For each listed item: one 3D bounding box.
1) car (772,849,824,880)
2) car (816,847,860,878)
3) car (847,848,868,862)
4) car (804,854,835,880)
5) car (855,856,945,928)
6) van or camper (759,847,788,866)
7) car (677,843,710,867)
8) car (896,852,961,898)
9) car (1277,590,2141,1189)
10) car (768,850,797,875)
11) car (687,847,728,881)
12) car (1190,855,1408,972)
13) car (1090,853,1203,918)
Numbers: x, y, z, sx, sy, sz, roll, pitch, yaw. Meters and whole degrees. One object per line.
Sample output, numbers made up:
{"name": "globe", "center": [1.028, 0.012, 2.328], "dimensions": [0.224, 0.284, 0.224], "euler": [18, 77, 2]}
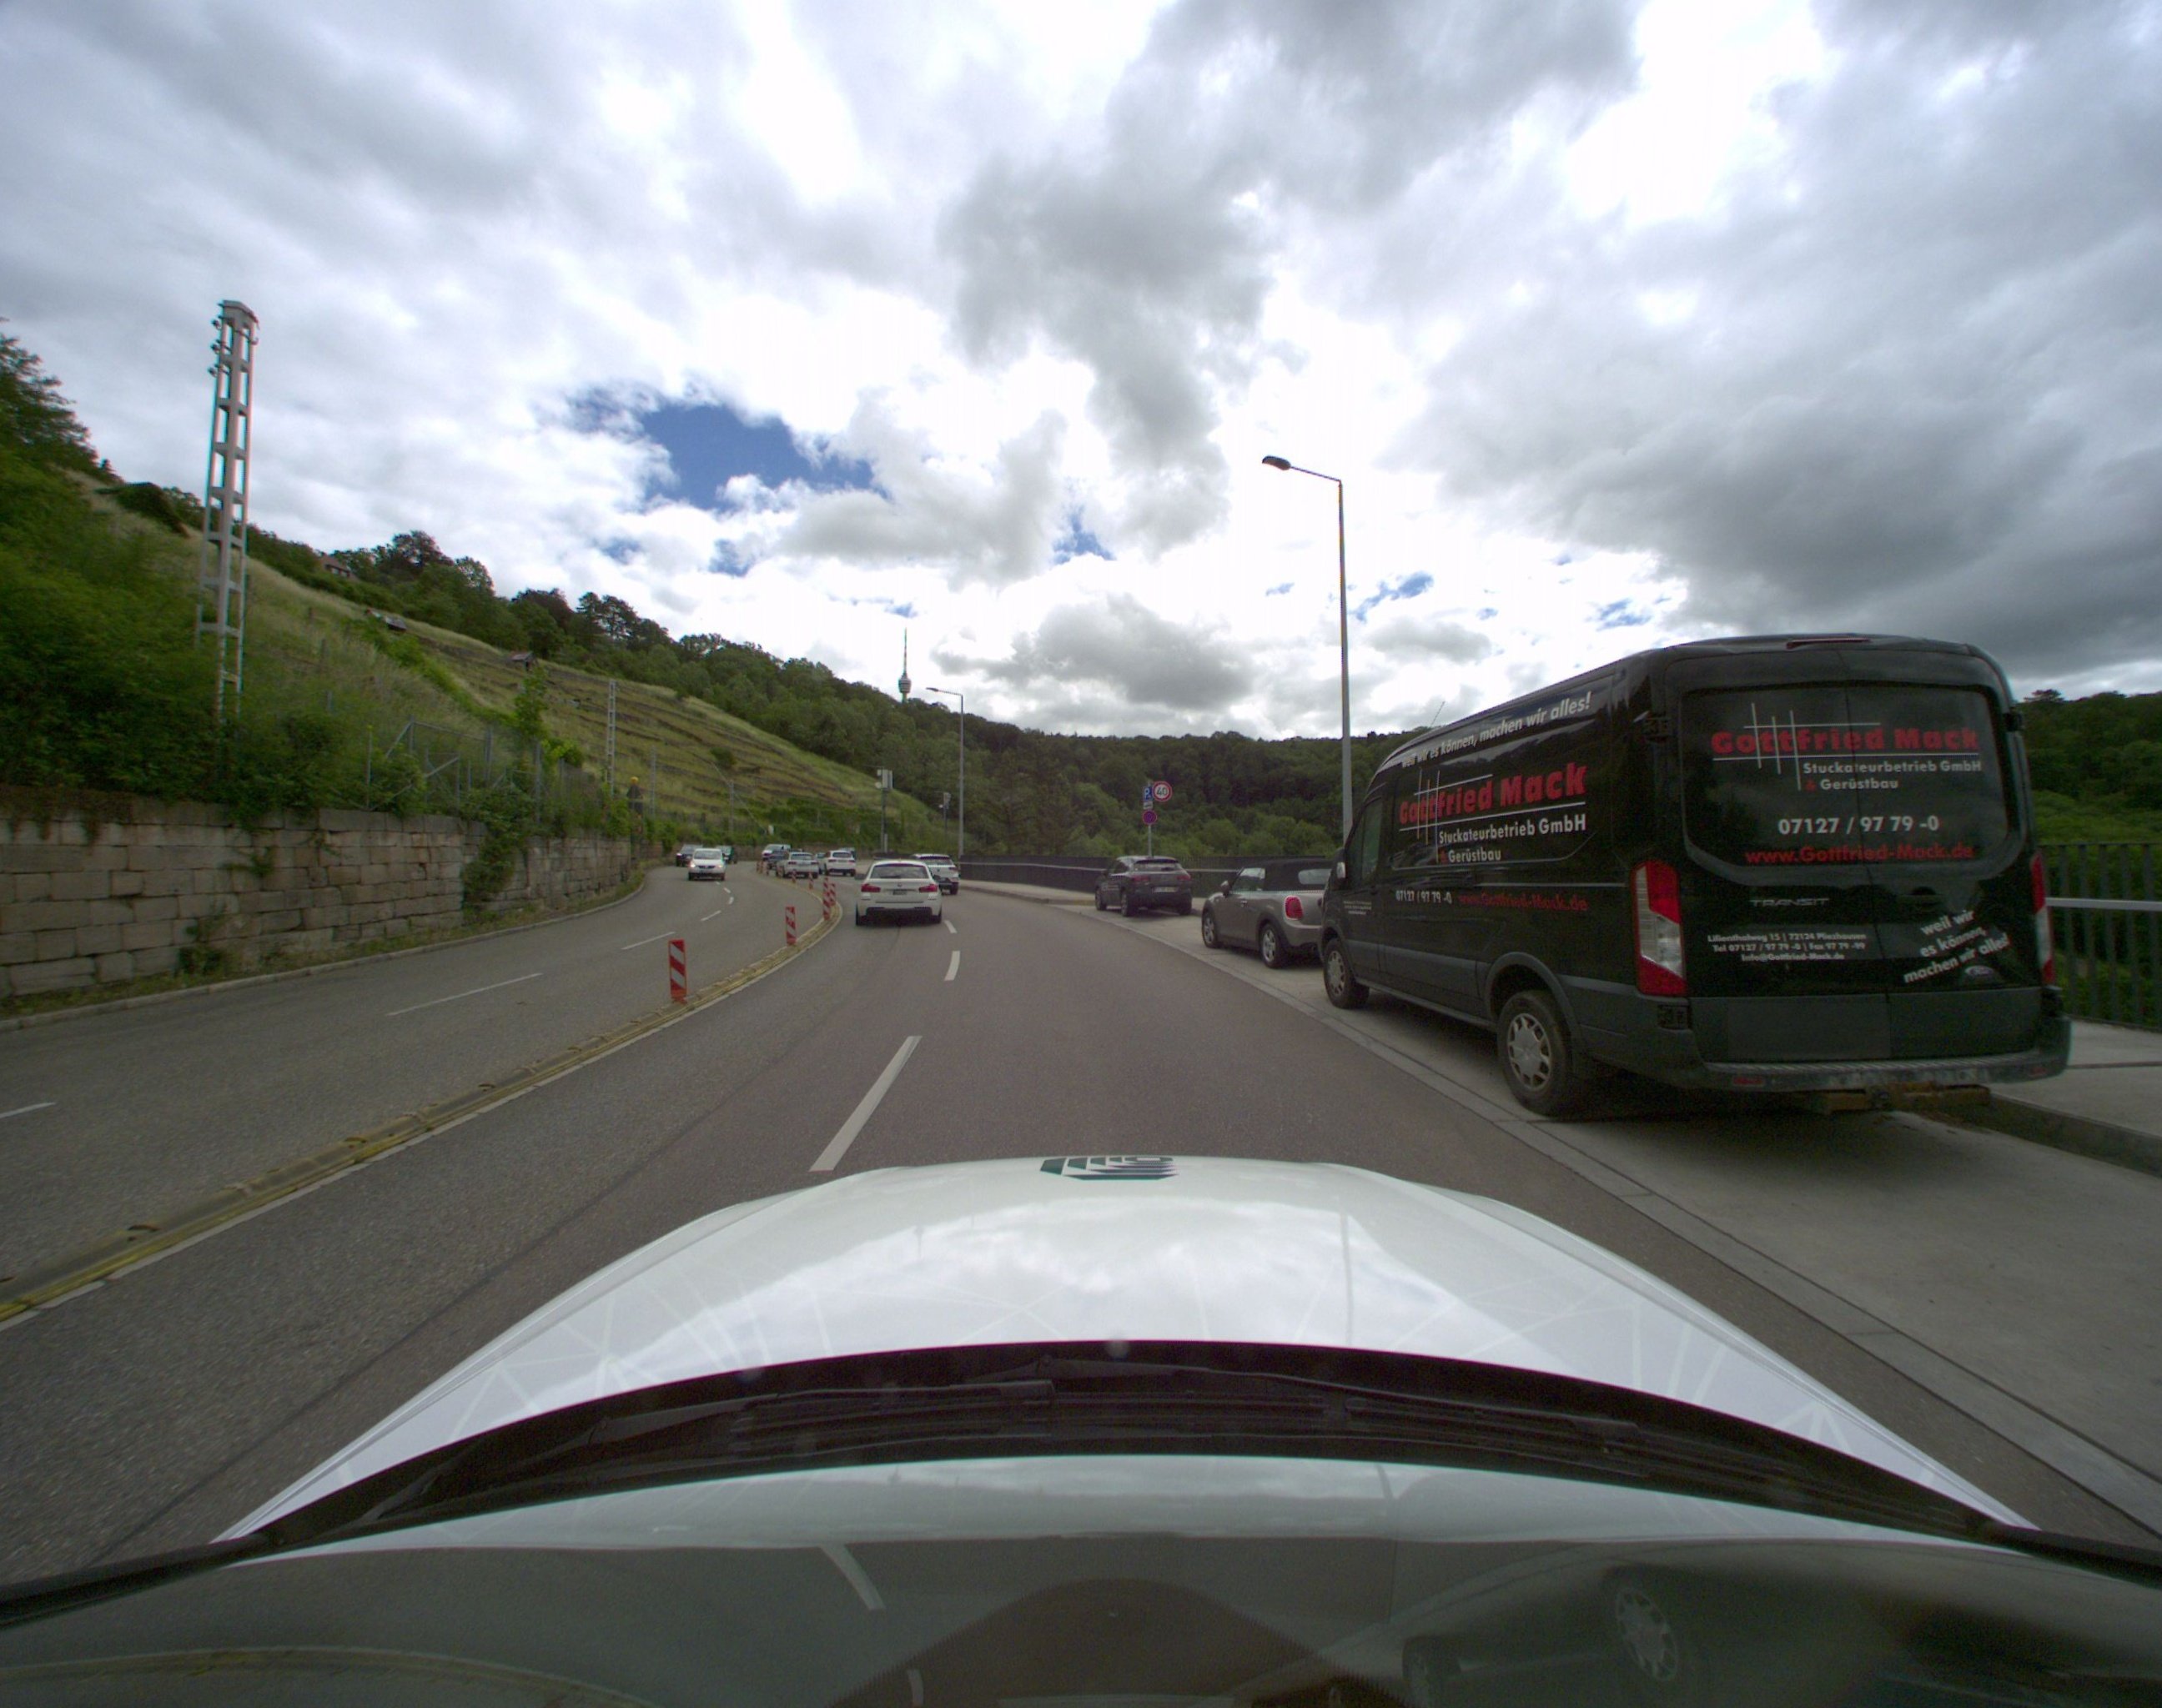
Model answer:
{"name": "car", "center": [-16.123, 0.611, 46.254], "dimensions": [2.005, 1.503, 4.623], "euler": [-2, -2, -28]}
{"name": "car", "center": [-15.731, 0.556, 52.610], "dimensions": [2.005, 1.718, 4.077], "euler": [-3, -2, -27]}
{"name": "car", "center": [-30.404, 0.155, 110.809], "dimensions": [1.864, 1.762, 3.997], "euler": [-1, -3, -1]}
{"name": "car", "center": [-21.618, 1.123, 67.275], "dimensions": [2.003, 2.014, 3.968], "euler": [-1, -1, -24]}
{"name": "car", "center": [-4.346, 0.824, 19.460], "dimensions": [1.830, 1.460, 4.465], "euler": [-1, 0, -13]}
{"name": "van or camper", "center": [-34.548, 0.260, 91.584], "dimensions": [2.148, 2.016, 4.946], "euler": [-2, 0, -10]}
{"name": "car", "center": [-28.802, 0.094, 60.603], "dimensions": [1.850, 1.726, 4.431], "euler": [1, -1, -21]}
{"name": "car", "center": [-6.076, 0.753, 32.149], "dimensions": [1.835, 1.605, 3.972], "euler": [-3, 1, -21]}
{"name": "car", "center": [3.498, 0.137, 6.482], "dimensions": [2.161, 2.521, 5.765], "euler": [-3, 0, -2]}
{"name": "car", "center": [-23.207, 0.701, 63.209], "dimensions": [2.001, 1.648, 3.971], "euler": [-3, -2, -21]}
{"name": "car", "center": [-18.458, 0.479, 40.337], "dimensions": [1.709, 1.549, 3.969], "euler": [2, 0, -24]}
{"name": "car", "center": [3.032, 0.753, 12.214], "dimensions": [1.714, 1.431, 3.837], "euler": [-1, 0, -10]}
{"name": "car", "center": [1.605, 0.757, 21.452], "dimensions": [1.876, 1.543, 4.072], "euler": [0, 0, -12]}
